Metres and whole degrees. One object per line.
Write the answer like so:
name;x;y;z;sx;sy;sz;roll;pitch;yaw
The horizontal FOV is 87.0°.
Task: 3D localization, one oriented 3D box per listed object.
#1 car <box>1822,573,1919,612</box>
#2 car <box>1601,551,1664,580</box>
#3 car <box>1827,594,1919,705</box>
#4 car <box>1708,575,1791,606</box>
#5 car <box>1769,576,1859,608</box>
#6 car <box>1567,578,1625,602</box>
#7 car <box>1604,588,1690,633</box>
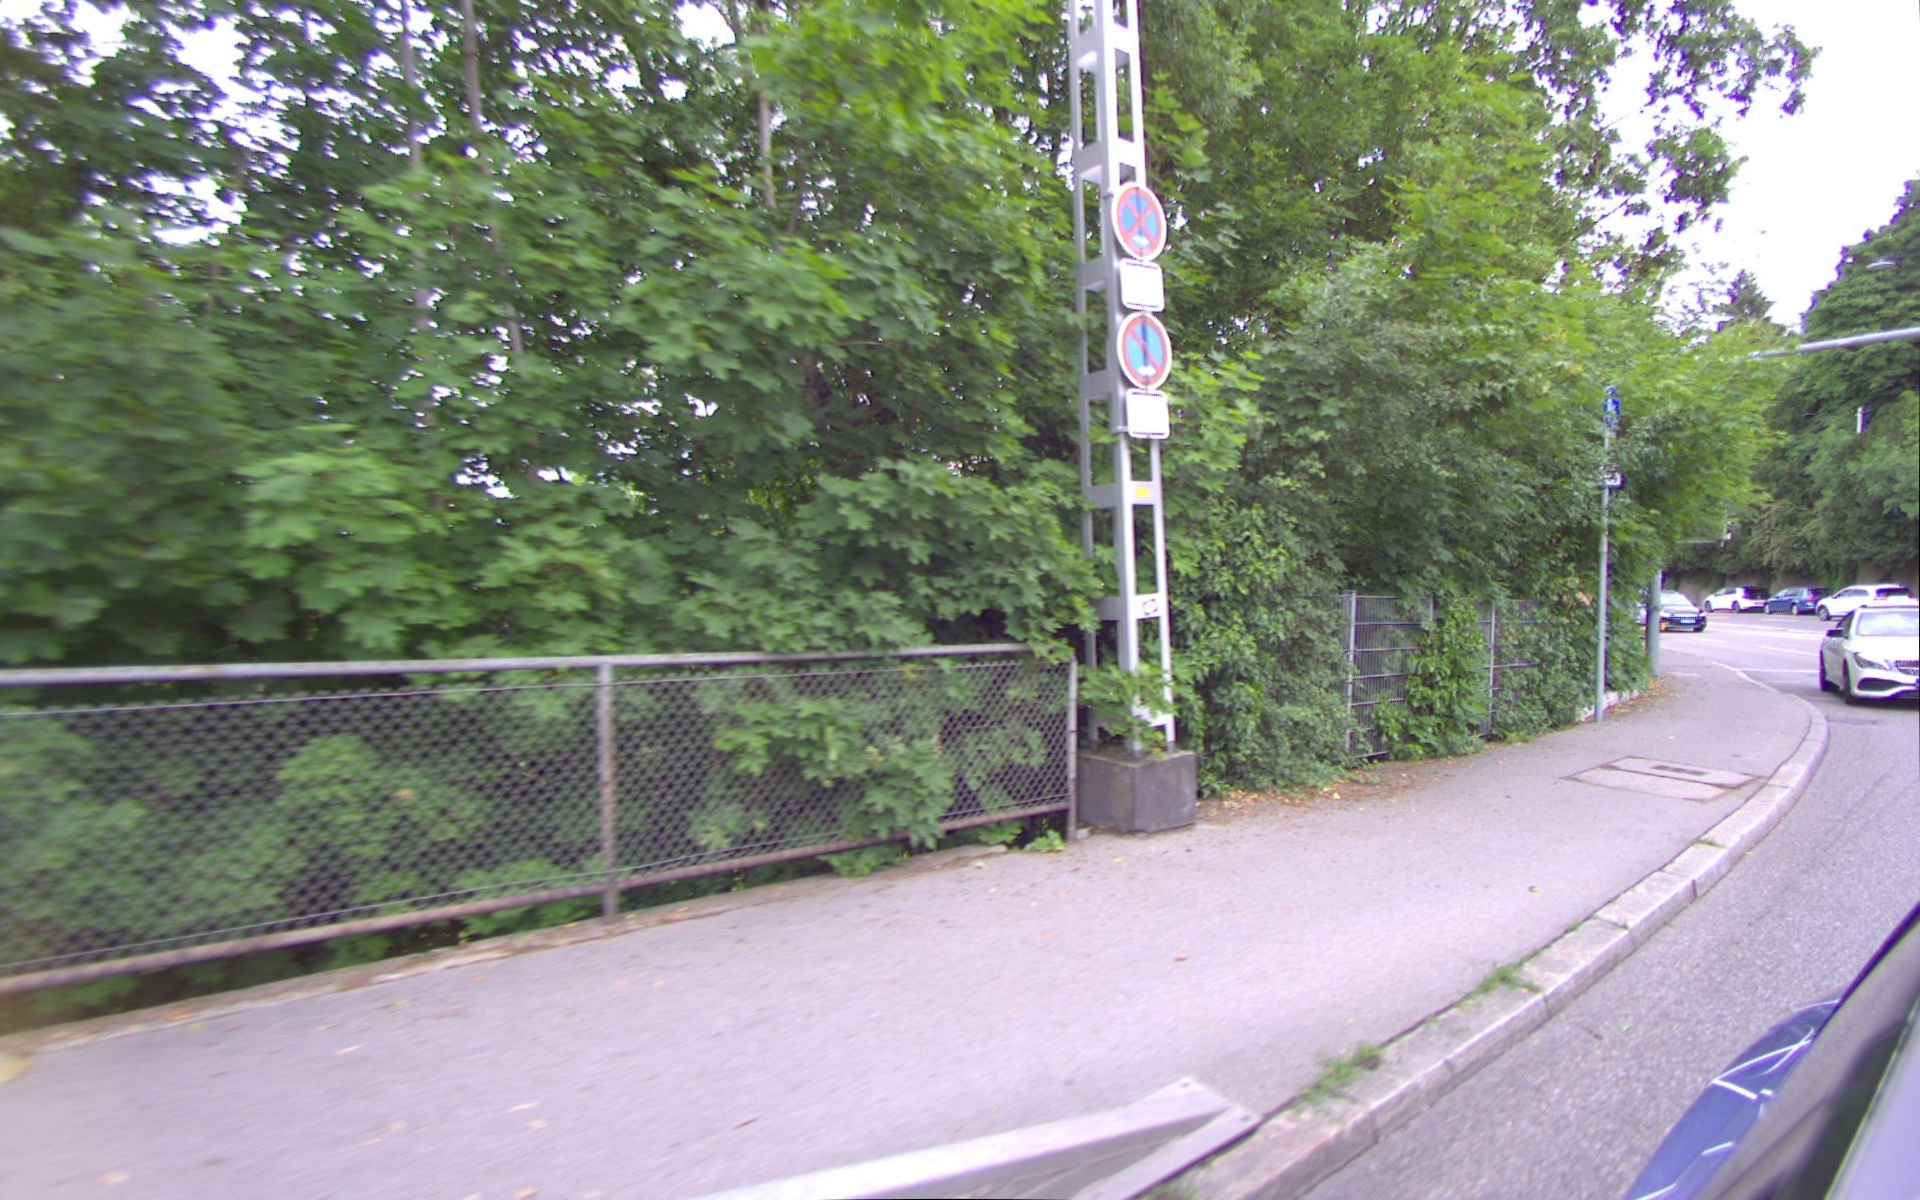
car;39.613;-0.326;43.540;1.858;1.587;4.376;-1;1;10
car;46.931;-2.388;70.731;1.755;1.866;4.479;-2;0;7
car;14.335;0.652;15.026;1.806;1.416;3.950;-1;1;35
car;45.461;-0.551;58.408;1.754;1.649;4.164;-2;0;6
car;44.450;-0.434;52.785;1.691;1.548;4.286;-2;0;12
car;47.916;-0.804;76.350;1.943;1.677;4.522;-2;1;8
car;25.741;0.370;38.060;1.757;1.561;3.972;-2;0;21
